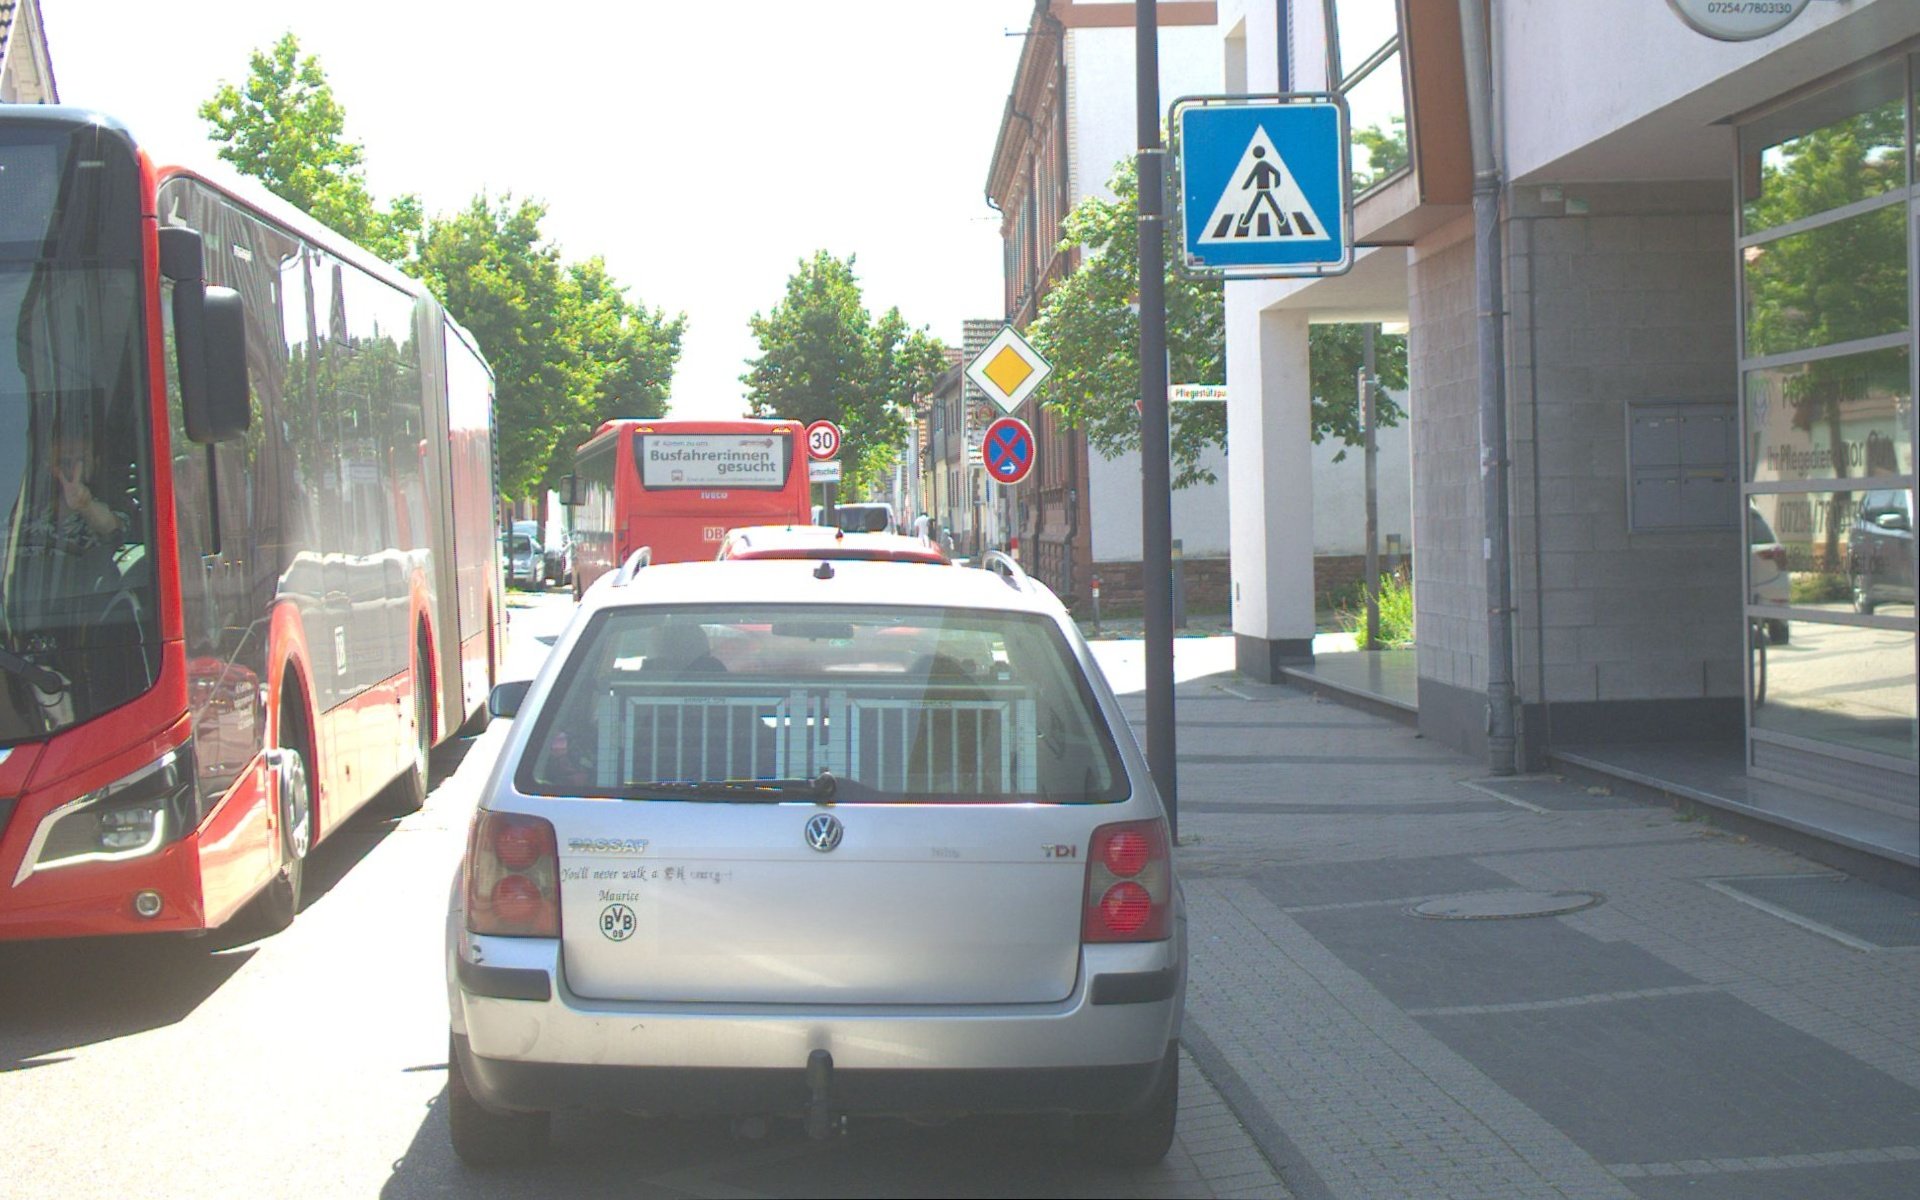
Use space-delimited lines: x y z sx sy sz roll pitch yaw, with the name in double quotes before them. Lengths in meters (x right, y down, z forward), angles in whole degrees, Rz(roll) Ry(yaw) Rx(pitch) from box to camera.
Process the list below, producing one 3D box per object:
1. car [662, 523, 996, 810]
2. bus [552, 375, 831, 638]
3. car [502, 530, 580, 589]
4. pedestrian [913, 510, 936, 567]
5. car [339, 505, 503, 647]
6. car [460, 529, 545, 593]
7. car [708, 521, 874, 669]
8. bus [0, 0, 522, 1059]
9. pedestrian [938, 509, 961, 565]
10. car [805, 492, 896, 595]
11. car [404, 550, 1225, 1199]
"car" -0.758 0.300 19.531 1.677 1.425 3.680 -2 1 -3
"bus" -4.109 -1.283 49.476 2.739 3.287 12.709 -1 1 -10
"car" -11.474 -1.127 94.371 1.811 1.553 4.001 -1 1 -3
"pedestrian" -1.042 -1.830 101.420 0.606 1.661 0.789 -1 1 -4
"car" -6.919 -0.344 44.451 1.674 1.710 4.233 -1 1 -4
"car" -11.672 -1.026 87.875 1.811 1.553 4.001 -1 1 -3
"car" -1.675 -0.088 34.867 1.593 1.425 3.680 0 1 -2
"bus" -4.269 -0.381 18.784 2.668 3.113 17.810 -2 1 -4
"pedestrian" -0.304 -1.867 101.843 0.606 1.661 0.789 -1 1 -4
"car" -2.325 -1.196 72.168 1.787 2.075 3.626 -1 1 -3
"car" -0.386 0.610 8.961 1.677 1.425 3.680 1 1 -3
